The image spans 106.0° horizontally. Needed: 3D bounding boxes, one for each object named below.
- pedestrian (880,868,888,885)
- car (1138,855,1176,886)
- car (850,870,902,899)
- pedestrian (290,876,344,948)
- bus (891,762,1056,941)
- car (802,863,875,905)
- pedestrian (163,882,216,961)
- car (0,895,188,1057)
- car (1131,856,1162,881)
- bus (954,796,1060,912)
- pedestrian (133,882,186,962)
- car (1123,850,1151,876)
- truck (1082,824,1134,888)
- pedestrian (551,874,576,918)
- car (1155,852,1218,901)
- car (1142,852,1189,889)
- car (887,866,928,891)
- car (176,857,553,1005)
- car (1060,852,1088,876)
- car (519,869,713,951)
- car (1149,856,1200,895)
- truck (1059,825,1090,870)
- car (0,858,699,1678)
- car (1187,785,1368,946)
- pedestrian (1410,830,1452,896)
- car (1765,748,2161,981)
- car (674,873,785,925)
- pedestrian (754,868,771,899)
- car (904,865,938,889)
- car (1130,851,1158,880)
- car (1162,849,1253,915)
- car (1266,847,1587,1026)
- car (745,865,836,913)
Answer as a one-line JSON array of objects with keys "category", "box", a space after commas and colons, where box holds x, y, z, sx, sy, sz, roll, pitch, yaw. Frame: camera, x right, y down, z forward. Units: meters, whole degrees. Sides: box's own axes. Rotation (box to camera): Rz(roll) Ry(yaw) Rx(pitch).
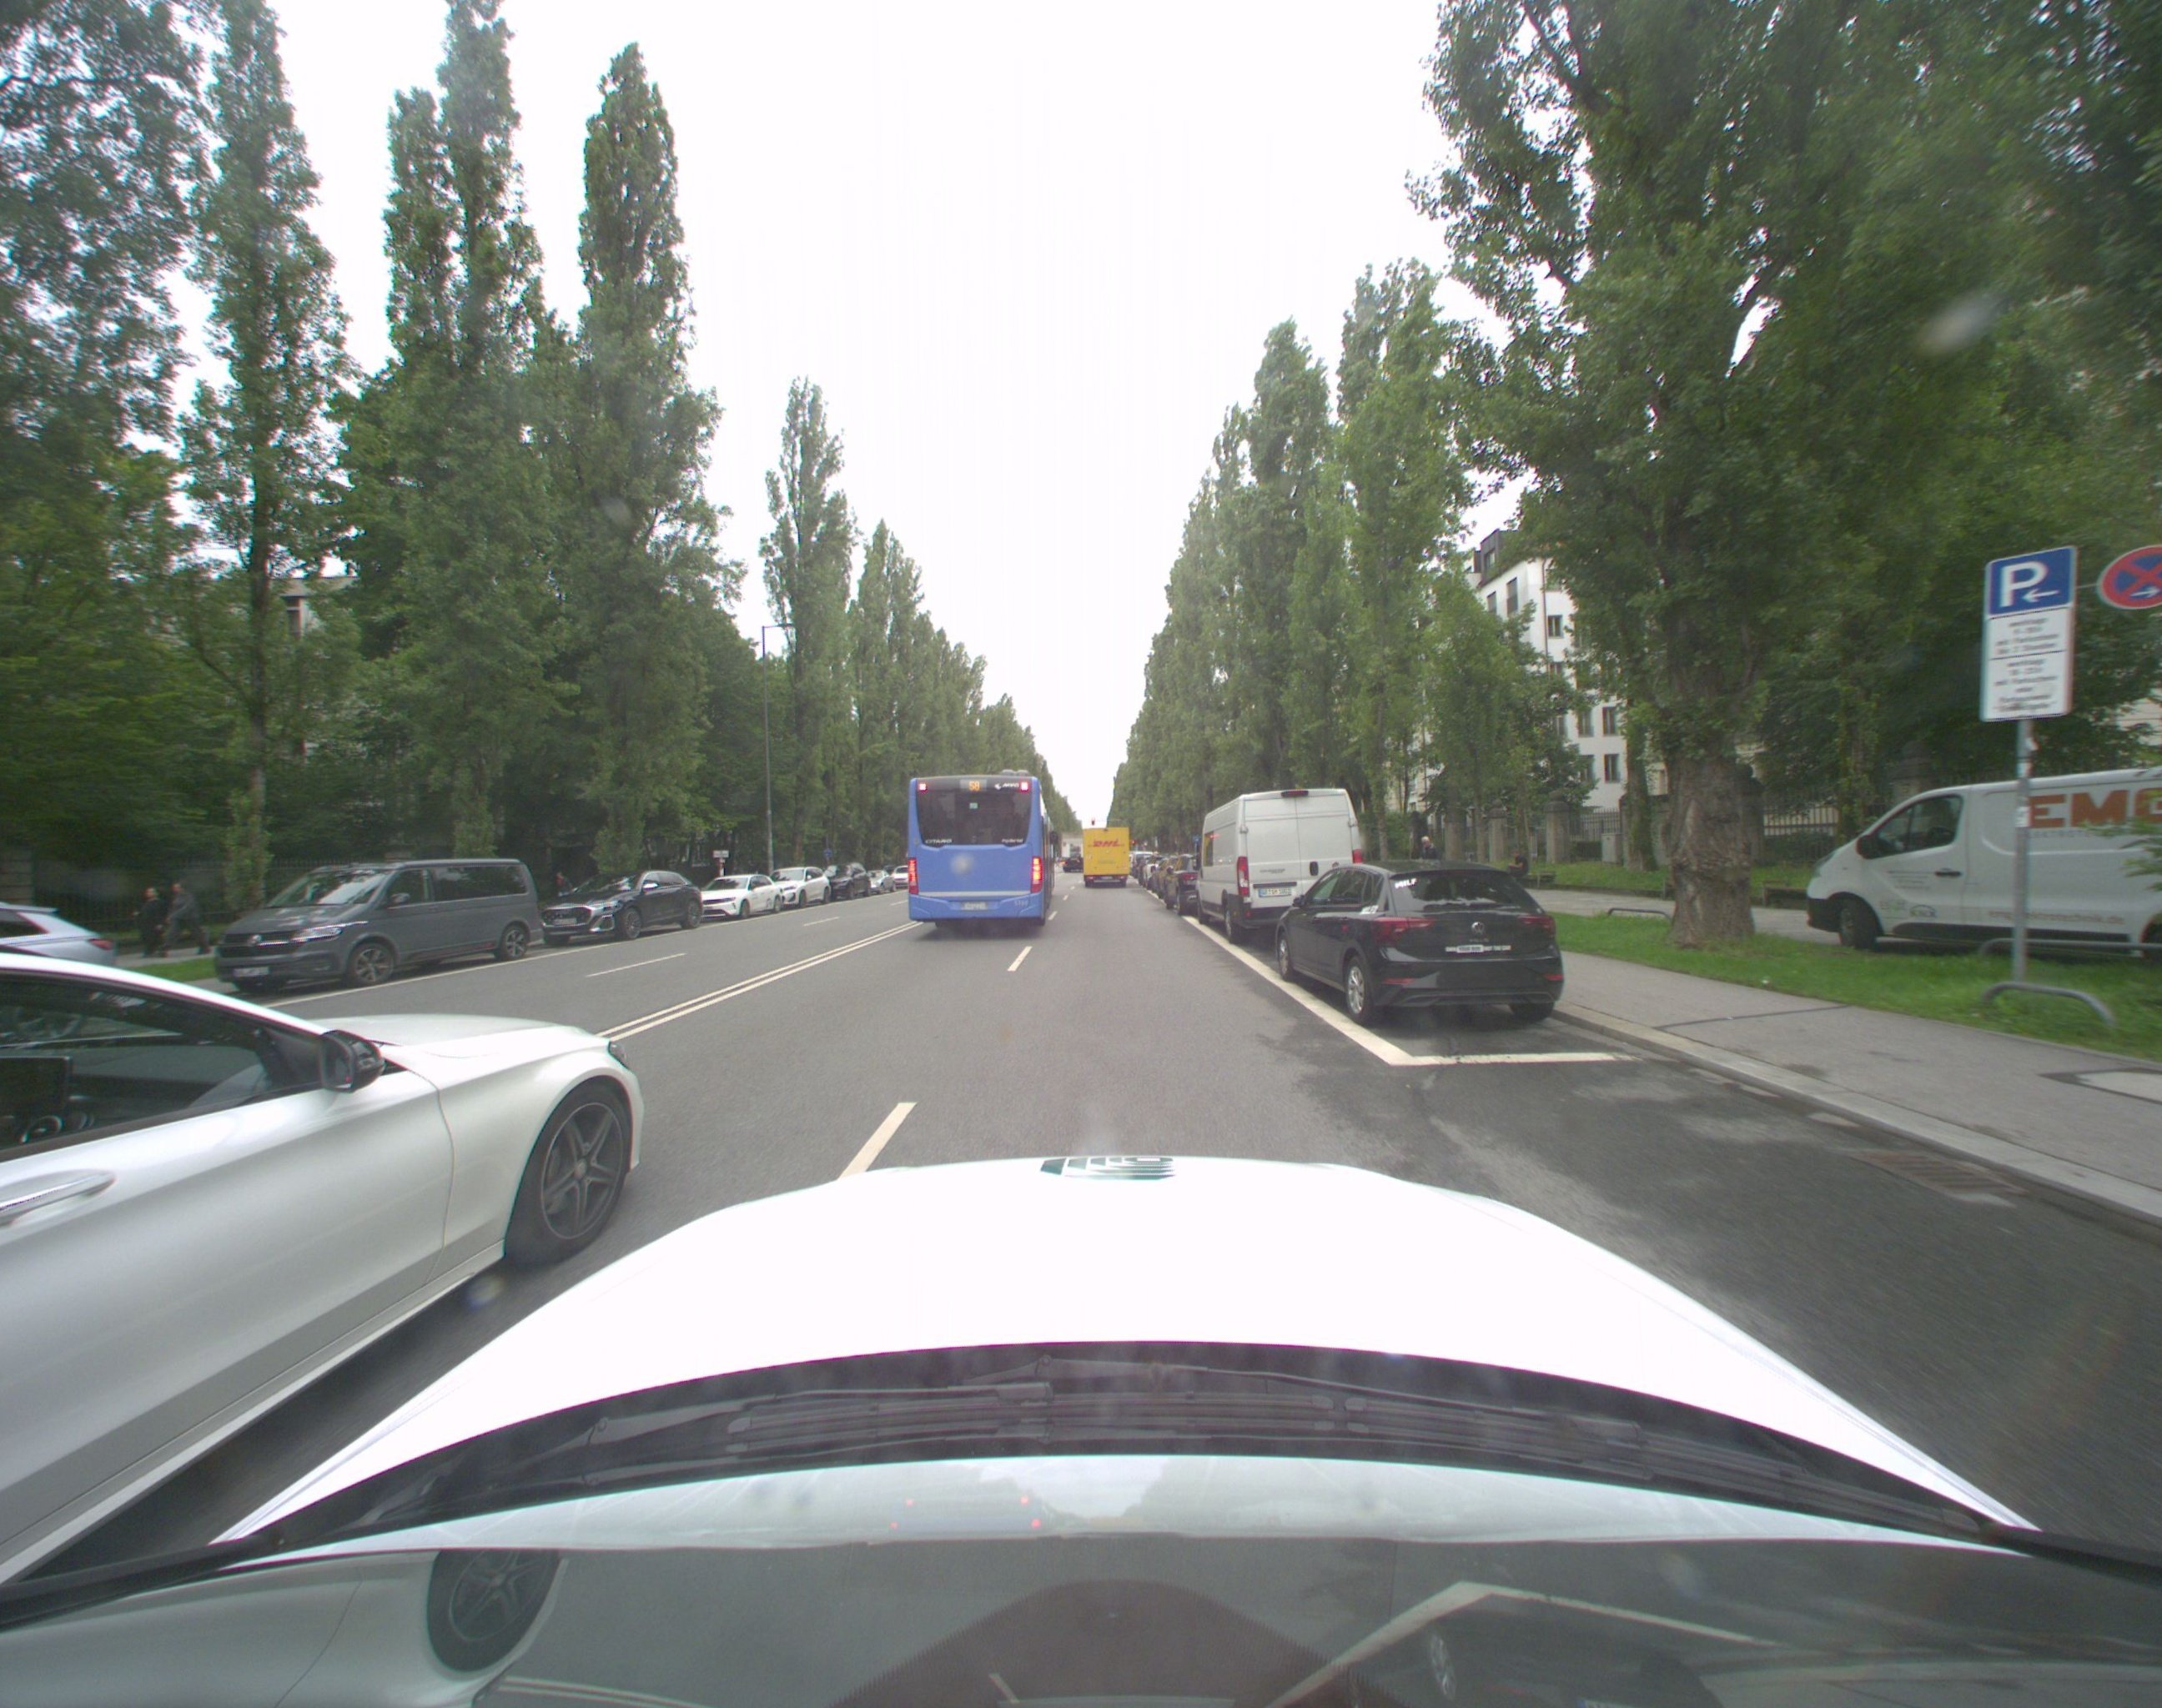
[{"category": "pedestrian", "box": [-19.800, 2.245, 81.742, 0.597, 1.739, 0.640, -2, -1, 1]}, {"category": "car", "box": [3.925, 0.845, 42.632, 1.719, 1.495, 4.326, -2, 0, 2]}, {"category": "car", "box": [-10.986, 1.621, 43.895, 1.574, 1.304, 4.030, -4, 0, 2]}, {"category": "pedestrian", "box": [-19.373, 1.444, 20.658, 0.606, 1.757, 0.757, -2, -1, 0]}, {"category": "bus", "box": [-2.113, -0.044, 19.489, 2.848, 3.213, 9.054, -1, 0, -1]}, {"category": "car", "box": [-11.225, 1.326, 37.994, 1.874, 1.658, 4.717, -5, 0, 0]}, {"category": "pedestrian", "box": [-19.862, 1.489, 18.154, 0.506, 1.707, 0.570, -1, 0, 2]}, {"category": "car", "box": [-12.079, 1.347, 7.765, 1.884, 1.584, 4.655, -3, 0, 1]}, {"category": "car", "box": [4.278, 0.917, 53.751, 1.856, 1.552, 4.002, -2, 0, 2]}, {"category": "bus", "box": [-2.298, 0.030, 28.760, 2.863, 3.304, 9.785, -2, 0, -1]}, {"category": "pedestrian", "box": [-20.464, 1.500, 18.097, 0.506, 1.707, 0.570, -1, 0, 2]}, {"category": "car", "box": [4.588, 0.697, 67.591, 2.045, 2.013, 5.694, -2, 0, 2]}, {"category": "truck", "box": [1.296, 0.126, 41.605, 2.319, 2.898, 7.333, -2, 0, 1]}, {"category": "pedestrian", "box": [-20.815, 1.677, 32.754, 0.547, 1.747, 0.673, -1, -1, 0]}, {"category": "car", "box": [3.504, 0.704, 27.591, 1.646, 1.503, 4.114, -1, 0, 1]}, {"category": "car", "box": [3.758, 0.723, 36.915, 1.775, 1.582, 4.147, 0, 0, 1]}, {"category": "car", "box": [-11.116, 1.560, 52.344, 1.680, 1.413, 4.004, -4, 0, 0]}, {"category": "car", "box": [-11.851, 1.109, 14.114, 1.987, 1.956, 4.938, -4, 0, 1]}, {"category": "car", "box": [-0.545, 0.795, 66.627, 2.028, 1.801, 4.509, -2, 0, 2]}, {"category": "car", "box": [-11.452, 1.292, 20.568, 1.809, 1.609, 5.053, -4, 0, 1]}, {"category": "car", "box": [3.657, 0.825, 32.386, 1.627, 1.446, 4.149, 0, 0, 1]}, {"category": "truck", "box": [-0.627, -0.580, 79.050, 2.708, 3.965, 9.213, -2, 0, -1]}, {"category": "car", "box": [-2.834, 0.753, 1.675, 1.819, 1.454, 4.584, -1, 0, 1]}, {"category": "car", "box": [3.480, 0.188, 15.850, 2.067, 2.479, 6.284, -1, 0, 1]}, {"category": "pedestrian", "box": [9.933, 0.252, 23.133, 0.656, 1.839, 0.779, -2, -1, -23]}, {"category": "car", "box": [10.043, 0.065, 8.271, 1.986, 1.946, 5.085, -2, 0, 2]}, {"category": "car", "box": [-11.449, 1.423, 26.845, 1.670, 1.422, 4.238, -4, -1, 1]}, {"category": "pedestrian", "box": [-18.946, 1.748, 48.506, 0.637, 1.815, 0.775, -2, -1, 1]}, {"category": "car", "box": [-11.110, 1.570, 56.913, 1.740, 1.519, 4.111, -4, 0, -4]}, {"category": "car", "box": [4.579, 0.843, 59.264, 1.799, 1.976, 4.238, -2, 0, 2]}, {"category": "car", "box": [3.306, 0.692, 22.017, 1.814, 1.590, 4.223, -1, 0, 1]}, {"category": "car", "box": [3.256, 0.673, 8.599, 1.748, 1.450, 4.000, 0, 0, 1]}, {"category": "car", "box": [-11.410, 1.318, 32.380, 1.779, 1.588, 4.463, -4, 0, 2]}]
